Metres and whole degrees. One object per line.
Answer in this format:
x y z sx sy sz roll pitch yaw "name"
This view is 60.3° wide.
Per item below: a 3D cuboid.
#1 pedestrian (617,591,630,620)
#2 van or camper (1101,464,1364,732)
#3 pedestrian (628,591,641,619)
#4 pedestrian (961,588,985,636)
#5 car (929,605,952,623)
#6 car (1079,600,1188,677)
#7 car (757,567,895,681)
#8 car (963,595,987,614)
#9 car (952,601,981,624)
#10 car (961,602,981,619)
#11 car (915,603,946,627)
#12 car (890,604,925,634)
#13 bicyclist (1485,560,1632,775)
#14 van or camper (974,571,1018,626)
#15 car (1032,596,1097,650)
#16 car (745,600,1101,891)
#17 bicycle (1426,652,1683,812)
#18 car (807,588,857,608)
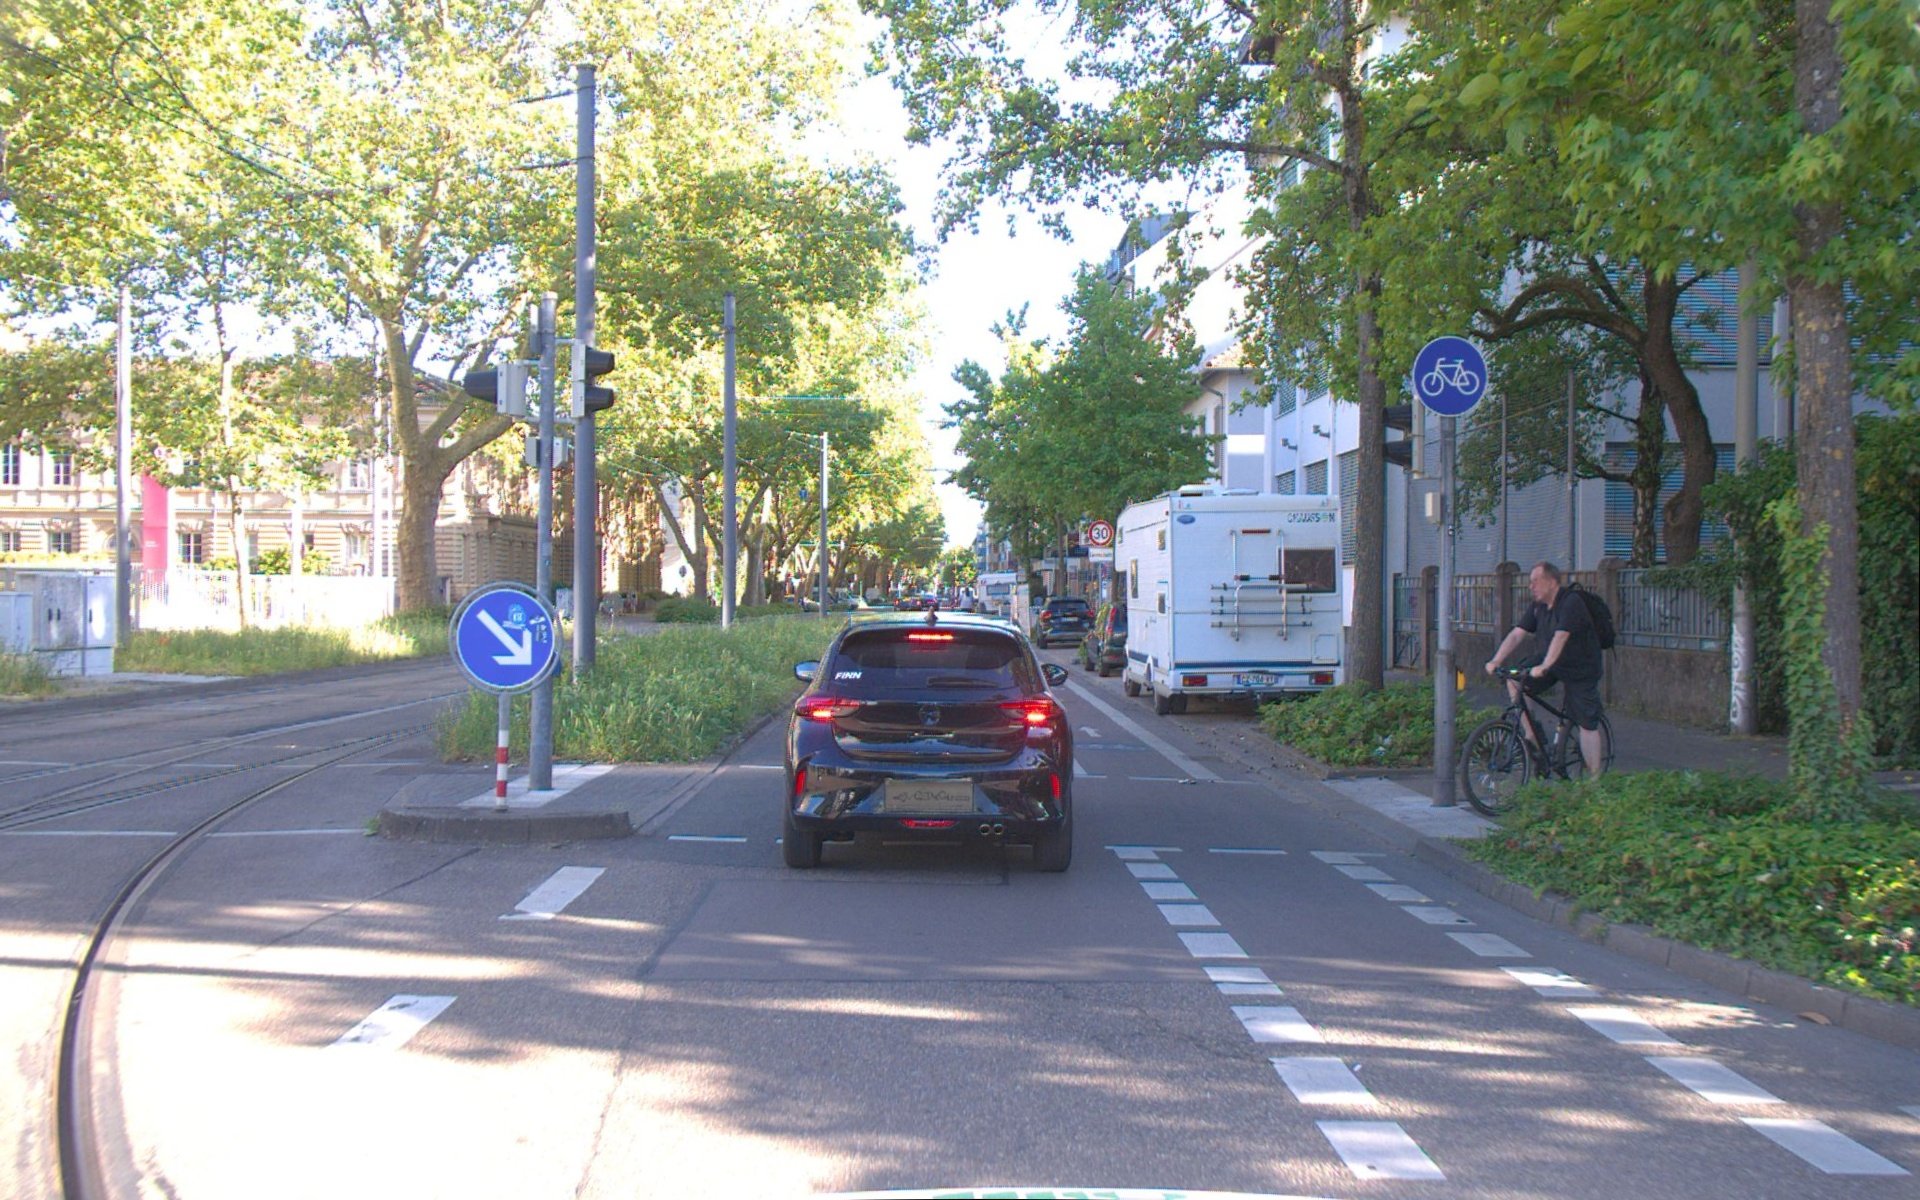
-20.644 0.330 101.425 0.605 1.763 0.596 3 0 -1 "pedestrian"
3.638 -0.068 23.888 2.327 3.179 7.549 -2 1 -1 "van or camper"
-19.999 0.318 101.614 0.645 1.650 0.615 3 0 -1 "pedestrian"
0.562 0.516 72.556 1.015 2.059 1.212 1 0 -1 "pedestrian"
-1.650 1.166 141.176 1.866 1.450 4.216 1 1 1 "car"
3.496 0.745 33.950 1.652 1.445 4.047 0 1 -2 "car"
-2.163 0.347 27.877 1.953 1.655 4.469 3 1 -1 "car"
1.228 0.350 131.520 1.866 1.450 4.216 1 1 1 "car"
0.471 0.809 111.774 1.866 1.450 4.216 1 1 1 "car"
1.045 0.996 154.656 1.866 1.450 4.216 1 1 1 "car"
-1.891 0.945 107.493 1.866 1.450 4.216 1 1 1 "car"
-2.813 1.005 89.054 1.753 1.536 3.874 -1 1 0 "car"
4.441 0.482 12.298 0.691 1.536 0.745 1 0 -25 "bicyclist"
2.096 -0.106 97.396 2.435 3.045 5.435 3 0 1 "van or camper"
3.174 0.679 50.851 1.753 1.536 3.874 -1 1 0 "car"
-0.165 0.769 10.862 1.866 1.450 4.216 1 1 1 "car"
4.432 0.946 12.301 1.920 1.089 0.636 0 0 -25 "bicycle"
-14.904 -0.278 192.832 5.571 2.236 2.289 1 0 0 "car"
